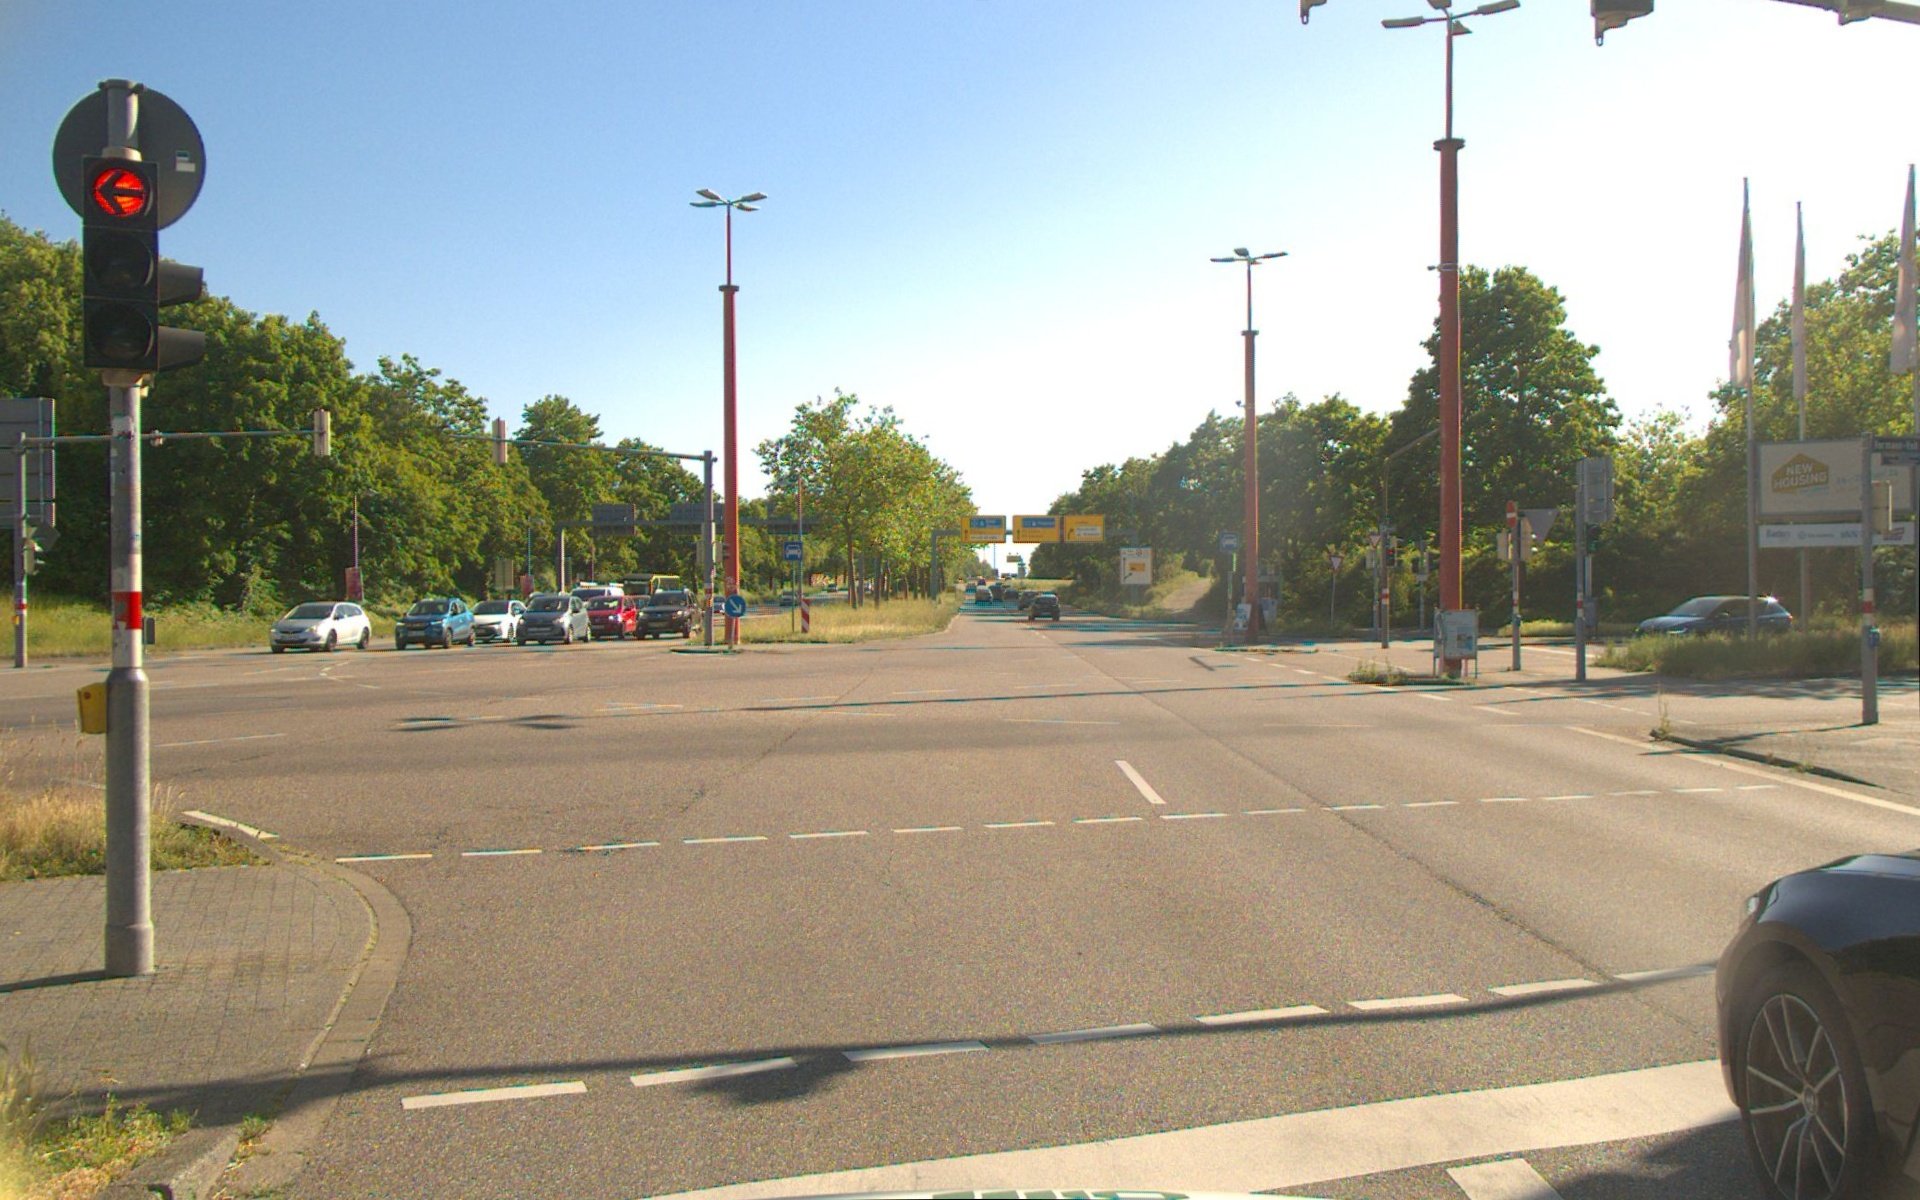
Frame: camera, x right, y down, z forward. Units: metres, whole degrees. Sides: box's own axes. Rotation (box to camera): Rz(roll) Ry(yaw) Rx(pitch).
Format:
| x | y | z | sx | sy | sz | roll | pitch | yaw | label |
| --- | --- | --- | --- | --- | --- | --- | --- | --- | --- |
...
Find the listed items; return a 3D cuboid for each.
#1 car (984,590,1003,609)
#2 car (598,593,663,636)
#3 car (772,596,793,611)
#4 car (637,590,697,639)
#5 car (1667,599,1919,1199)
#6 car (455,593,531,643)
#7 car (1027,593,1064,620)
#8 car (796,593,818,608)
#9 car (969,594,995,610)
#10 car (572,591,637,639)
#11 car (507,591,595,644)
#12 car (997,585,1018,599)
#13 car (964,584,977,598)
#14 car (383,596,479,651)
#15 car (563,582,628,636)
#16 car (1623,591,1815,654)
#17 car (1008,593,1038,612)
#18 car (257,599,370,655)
| x | y | z | sx | sy | sz | roll | pitch | yaw | label |
| --- | --- | --- | --- | --- | --- | --- | --- | --- | --- |
| 3.780 | -0.045 | 187.386 | 1.953 | 2.049 | 3.999 | 0 | 0 | -1 | car |
| -12.712 | 0.526 | 64.050 | 1.954 | 1.601 | 4.117 | 0 | 0 | -4 | car |
| -18.430 | 0.373 | 172.018 | 1.846 | 1.480 | 3.656 | 0 | 0 | 0 | car |
| -9.875 | 0.470 | 55.994 | 1.841 | 1.601 | 4.113 | 0 | 0 | -8 | car |
| 2.971 | 0.712 | 2.364 | 1.953 | 1.419 | 4.476 | 0 | 0 | -1 | car |
| -15.992 | 0.595 | 56.787 | 1.956 | 1.601 | 4.113 | -1 | 0 | -8 | car |
| 5.231 | 0.370 | 101.274 | 2.114 | 1.601 | 4.281 | 0 | 0 | 1 | car |
| -17.342 | 0.030 | 187.706 | 1.952 | 1.601 | 4.123 | 0 | 0 | 3 | car |
| 2.268 | 0.161 | 171.213 | 2.202 | 1.601 | 4.276 | 0 | 0 | -5 | car |
| -12.480 | 0.505 | 58.275 | 1.956 | 1.601 | 4.113 | 0 | 0 | -8 | car |
| -12.806 | 0.519 | 51.968 | 1.954 | 1.601 | 4.118 | 0 | 0 | -4 | car |
| 5.865 | -0.988 | 204.501 | 2.116 | 1.601 | 4.277 | 0 | 0 | -4 | car |
| 1.552 | -1.380 | 251.801 | 1.953 | 2.049 | 3.999 | 0 | 0 | -1 | car |
| -16.210 | 0.680 | 50.894 | 1.955 | 1.601 | 4.116 | 0 | 0 | -5 | car |
| -15.673 | 0.384 | 71.268 | 2.021 | 2.231 | 4.376 | 0 | 0 | -3 | car |
| 18.758 | 0.529 | 40.904 | 4.201 | 1.453 | 1.874 | 0 | 0 | -19 | car |
| 5.473 | 0.216 | 144.752 | 2.116 | 1.601 | 4.277 | 0 | 0 | -4 | car |
| -19.588 | 0.783 | 50.301 | 1.954 | 1.601 | 4.118 | 0 | 0 | -3 | car |
